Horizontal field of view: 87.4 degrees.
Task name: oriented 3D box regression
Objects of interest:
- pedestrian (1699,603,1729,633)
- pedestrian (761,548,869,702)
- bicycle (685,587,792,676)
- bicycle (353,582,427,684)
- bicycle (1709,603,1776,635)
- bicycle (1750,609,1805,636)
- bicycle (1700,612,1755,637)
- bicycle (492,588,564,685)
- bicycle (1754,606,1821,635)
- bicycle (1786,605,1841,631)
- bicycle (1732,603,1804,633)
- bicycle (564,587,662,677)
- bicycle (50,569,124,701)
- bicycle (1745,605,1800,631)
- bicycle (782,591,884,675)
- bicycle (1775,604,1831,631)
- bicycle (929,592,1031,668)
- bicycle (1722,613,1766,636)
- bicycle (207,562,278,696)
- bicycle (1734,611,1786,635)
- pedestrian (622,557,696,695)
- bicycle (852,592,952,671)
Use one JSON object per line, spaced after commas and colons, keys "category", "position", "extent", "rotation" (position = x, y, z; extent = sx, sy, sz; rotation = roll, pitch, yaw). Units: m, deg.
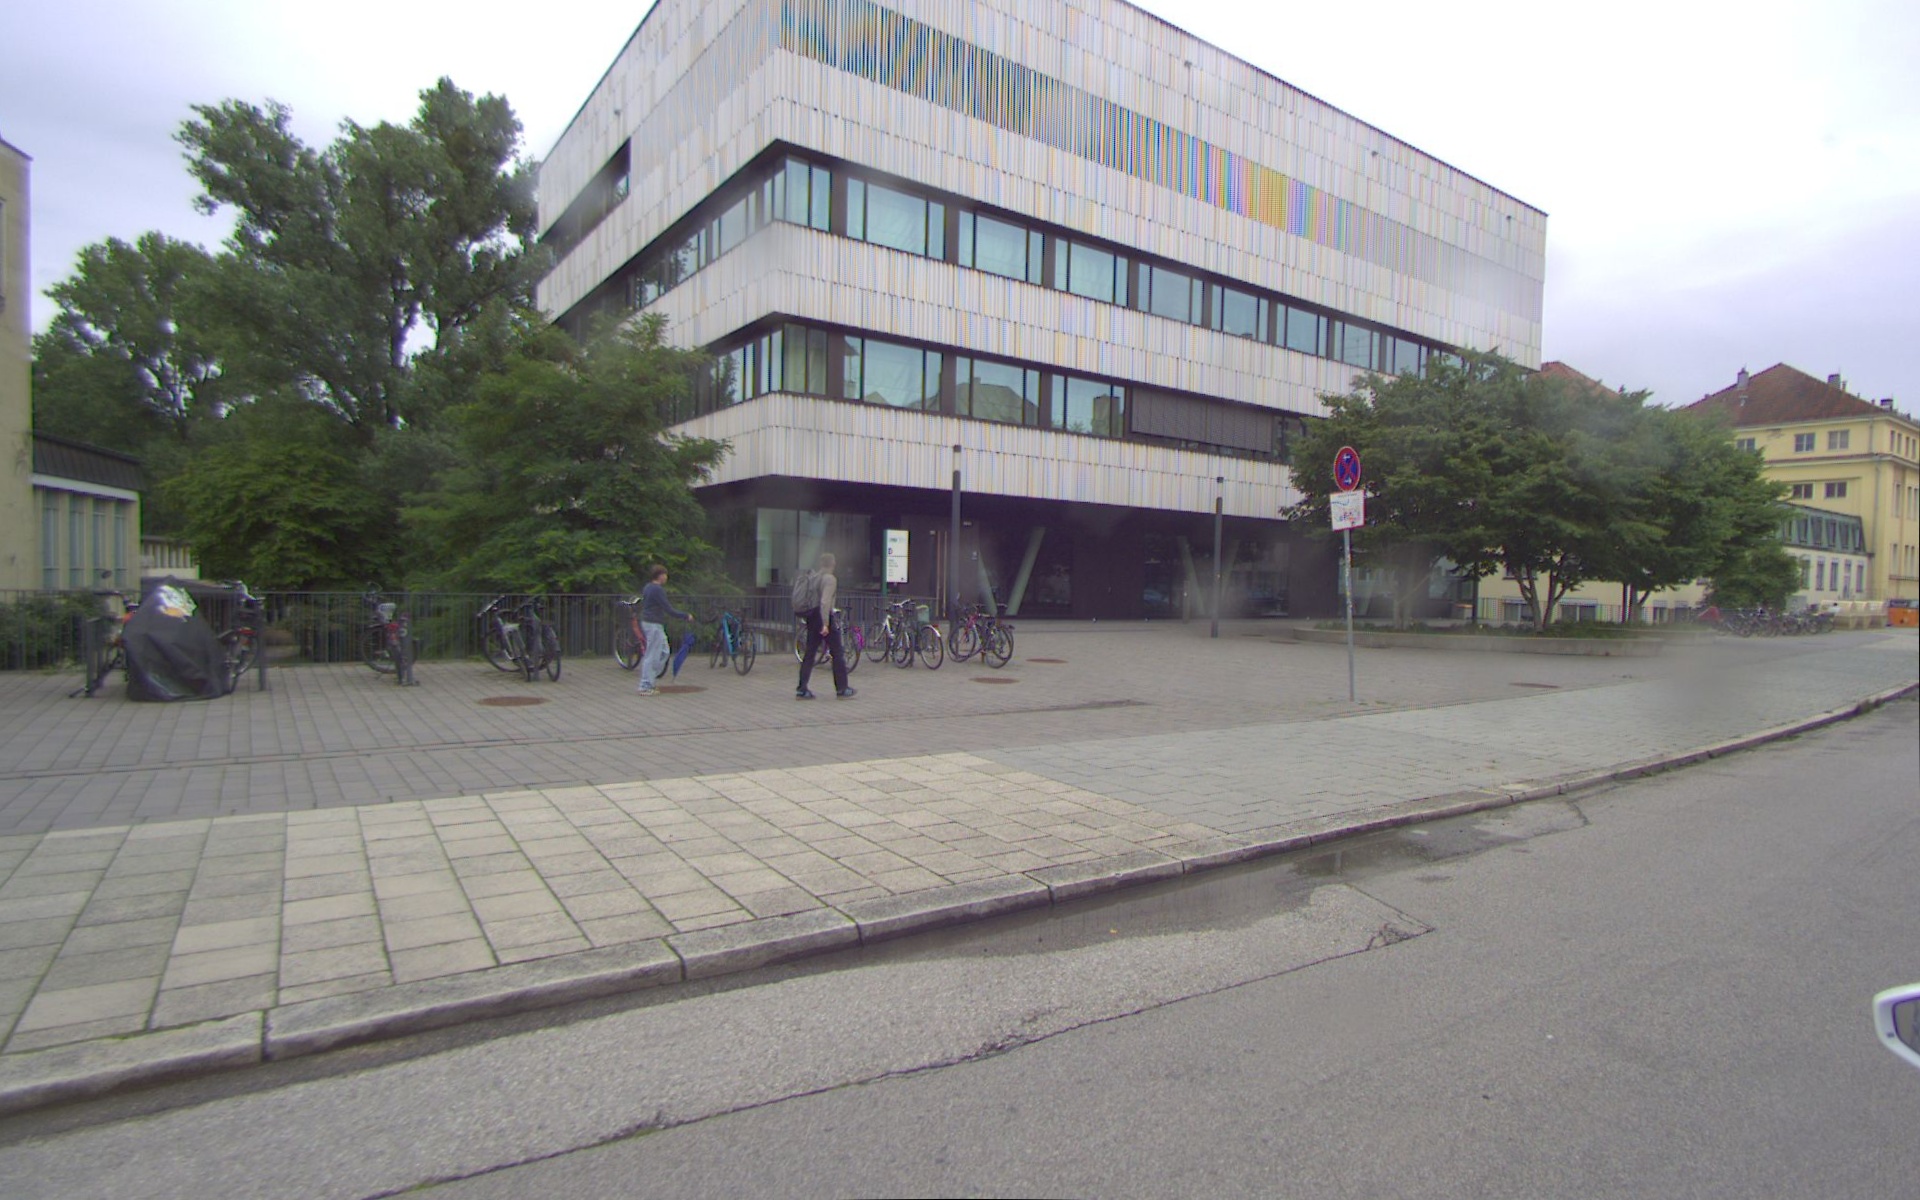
{"category": "pedestrian", "position": [31.939, 0.758, 42.563], "extent": [1.031, 1.179, 0.712], "rotation": [-1, 4, -37]}
{"category": "pedestrian", "position": [-1.805, 0.285, 12.529], "extent": [0.778, 1.806, 1.009], "rotation": [5, 3, 43]}
{"category": "bicycle", "position": [-3.304, 0.421, 14.864], "extent": [0.612, 1.126, 2.026], "rotation": [-2, 5, -42]}
{"category": "bicycle", "position": [-7.373, 0.379, 12.948], "extent": [0.611, 1.126, 2.031], "rotation": [-1, 4, -36]}
{"category": "bicycle", "position": [33.802, 0.799, 43.404], "extent": [0.778, 1.244, 2.093], "rotation": [0, 4, -31]}
{"category": "bicycle", "position": [36.487, 0.989, 44.840], "extent": [0.502, 1.047, 1.781], "rotation": [0, 4, -31]}
{"category": "bicycle", "position": [31.731, 0.990, 41.538], "extent": [0.435, 0.874, 1.707], "rotation": [-1, 4, -35]}
{"category": "bicycle", "position": [-5.878, 0.446, 13.610], "extent": [0.610, 1.126, 2.034], "rotation": [-1, 4, -32]}
{"category": "bicycle", "position": [38.597, 0.937, 46.890], "extent": [0.575, 1.150, 2.297], "rotation": [0, 4, -31]}
{"category": "bicycle", "position": [42.010, 0.864, 49.473], "extent": [0.670, 1.107, 1.894], "rotation": [0, 4, -31]}
{"category": "bicycle", "position": [36.812, 0.812, 45.825], "extent": [0.419, 1.222, 2.540], "rotation": [-1, 2, -31]}
{"category": "bicycle", "position": [-5.142, 0.429, 14.800], "extent": [0.612, 1.126, 2.026], "rotation": [-2, 5, -42]}
{"category": "bicycle", "position": [-9.401, 0.337, 10.851], "extent": [0.458, 1.277, 1.439], "rotation": [-1, 4, -36]}
{"category": "bicycle", "position": [37.301, 0.797, 46.124], "extent": [0.533, 1.043, 1.856], "rotation": [0, 4, -31]}
{"category": "bicycle", "position": [-2.020, 0.476, 15.700], "extent": [0.611, 1.126, 2.029], "rotation": [-1, 4, -39]}
{"category": "bicycle", "position": [40.706, 0.843, 48.505], "extent": [0.566, 1.147, 1.946], "rotation": [0, 4, -31]}
{"category": "bicycle", "position": [0.317, 0.485, 17.524], "extent": [0.611, 1.126, 2.029], "rotation": [-1, 4, -39]}
{"category": "bicycle", "position": [32.746, 1.017, 41.957], "extent": [0.435, 0.874, 1.362], "rotation": [-1, 4, -35]}
{"category": "bicycle", "position": [-8.357, 0.274, 11.693], "extent": [0.608, 1.370, 2.082], "rotation": [-1, 4, -36]}
{"category": "bicycle", "position": [35.170, 1.003, 44.171], "extent": [0.588, 0.929, 1.665], "rotation": [0, 4, -31]}
{"category": "pedestrian", "position": [-3.702, 0.296, 12.361], "extent": [0.633, 1.623, 0.605], "rotation": [3, 4, 29]}
{"category": "bicycle", "position": [-1.003, 0.493, 16.913], "extent": [0.611, 1.126, 2.029], "rotation": [-1, 4, -39]}
